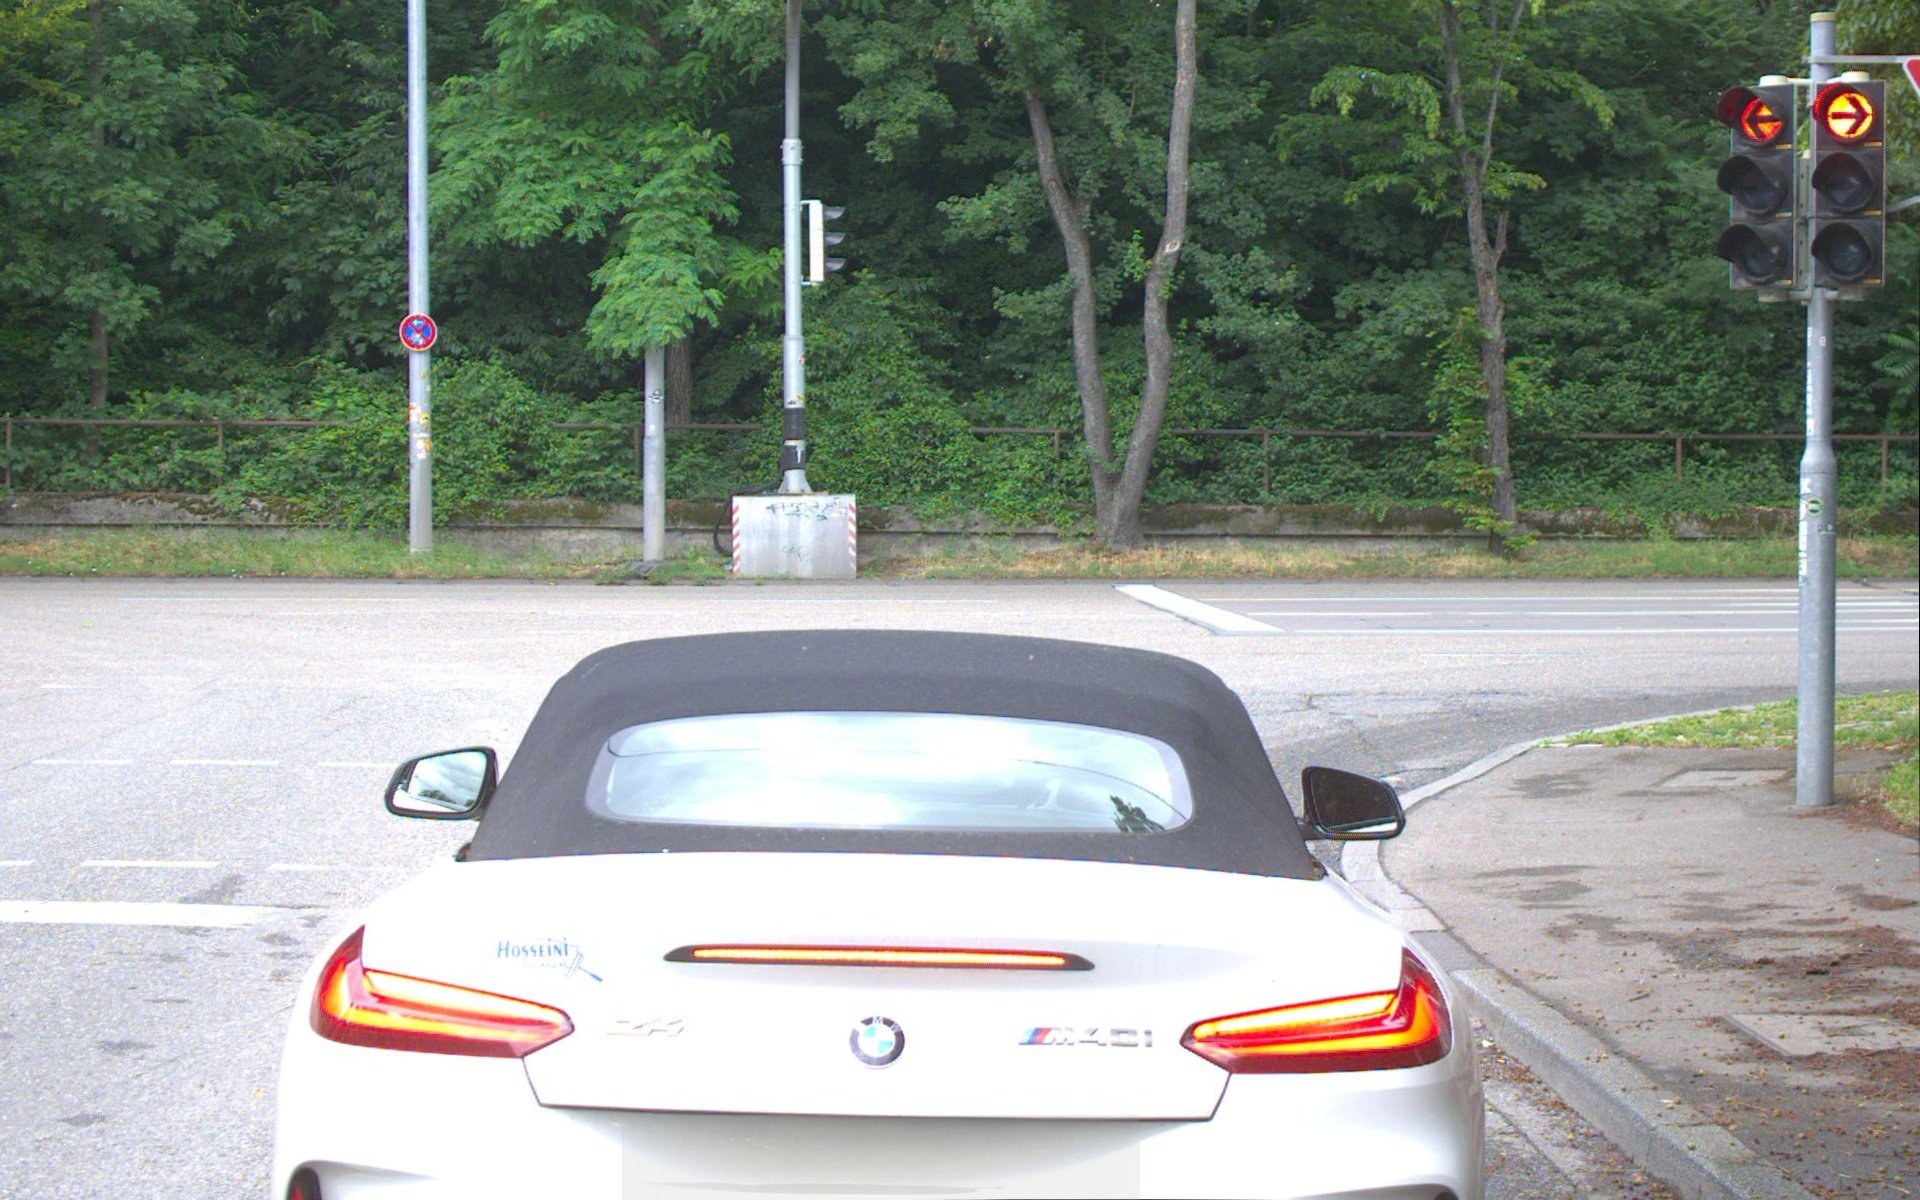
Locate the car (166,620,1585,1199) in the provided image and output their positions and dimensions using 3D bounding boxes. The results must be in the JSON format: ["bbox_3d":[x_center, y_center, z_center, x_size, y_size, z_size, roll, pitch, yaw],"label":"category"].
[{"bbox_3d":[-0.201,0.692,6.469,1.827,1.253,4.000,2,-1,-3],"label":"car"}]
